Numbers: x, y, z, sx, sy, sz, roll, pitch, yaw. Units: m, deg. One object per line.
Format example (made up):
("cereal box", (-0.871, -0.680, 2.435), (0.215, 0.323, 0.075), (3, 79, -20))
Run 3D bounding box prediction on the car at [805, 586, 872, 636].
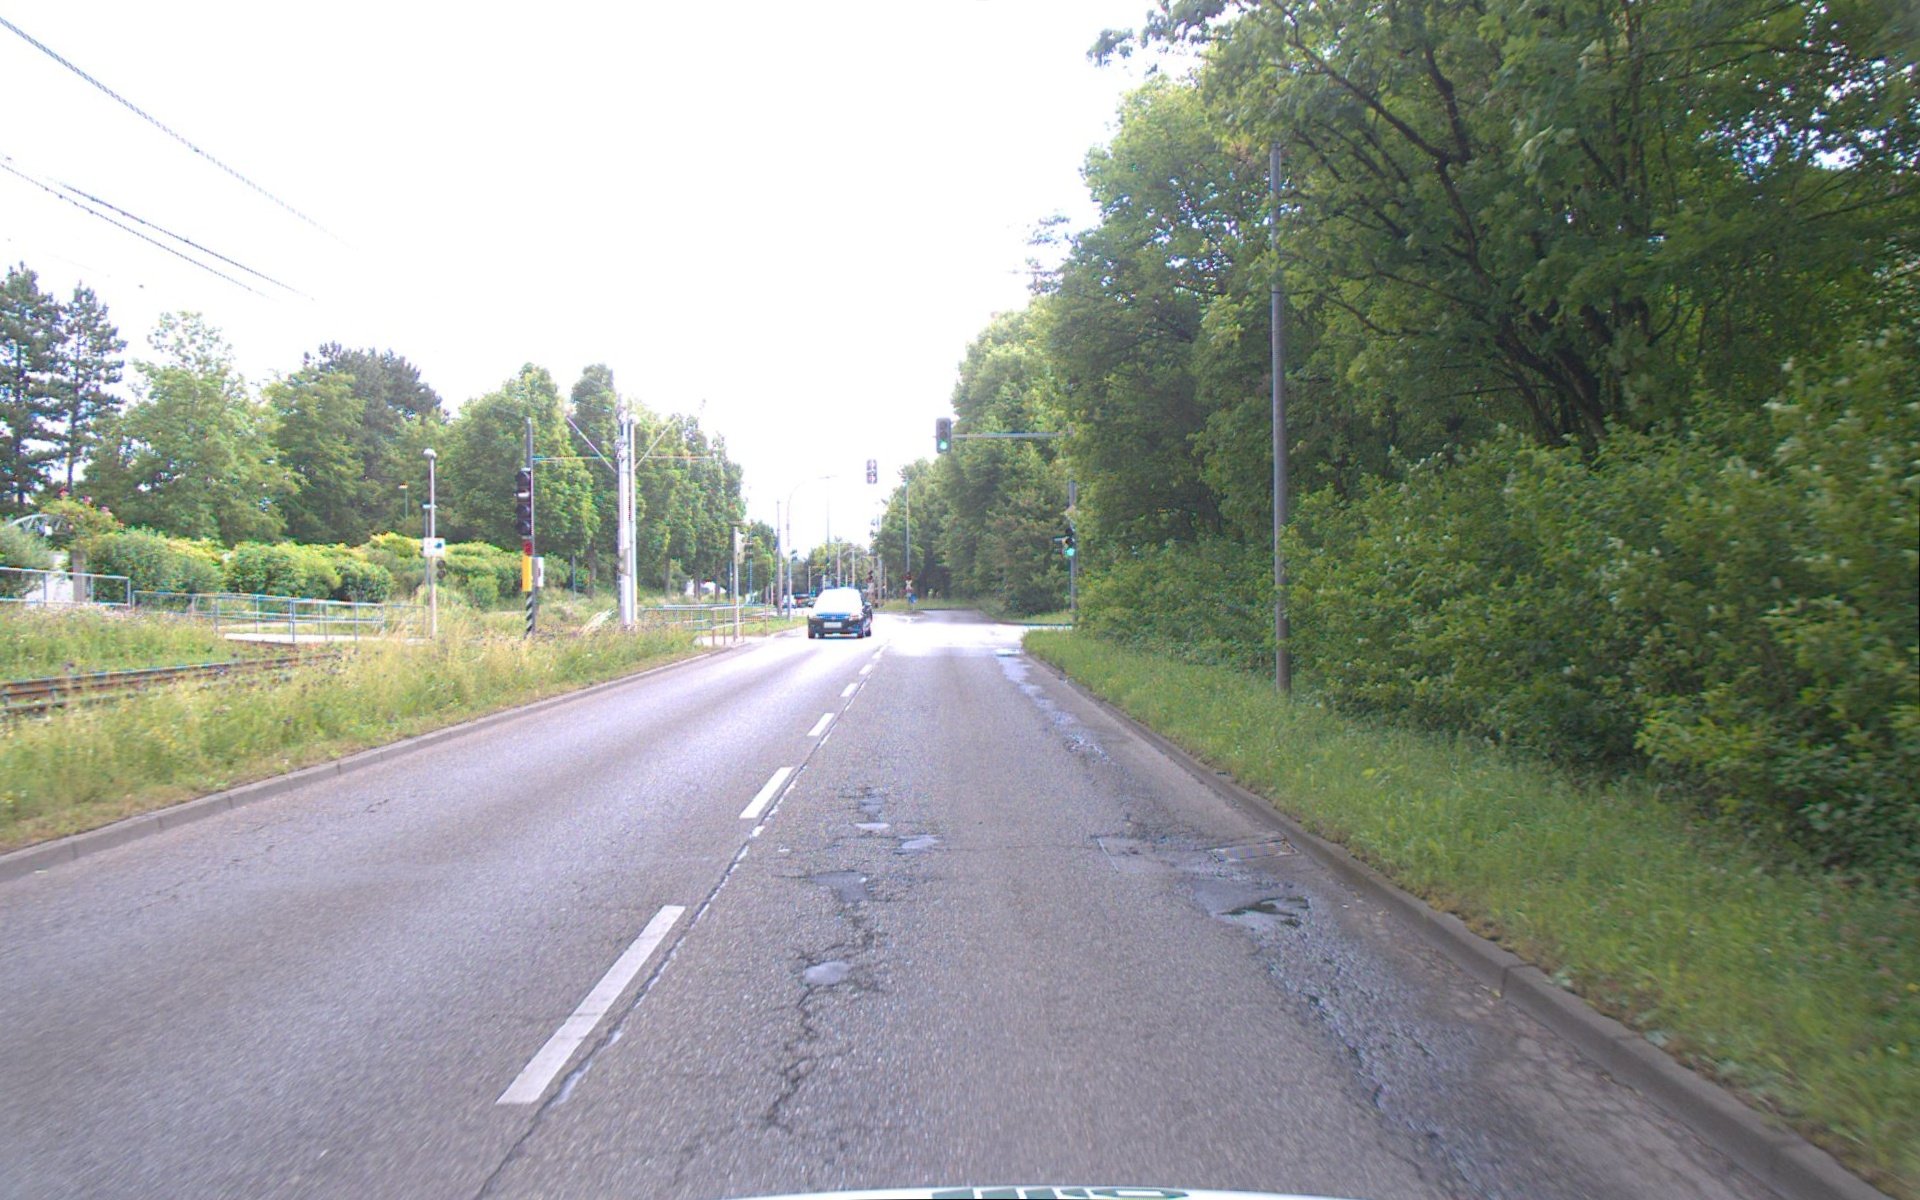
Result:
("car", (-3.774, 0.299, 51.902), (1.812, 1.496, 4.255), (0, 1, -1))
